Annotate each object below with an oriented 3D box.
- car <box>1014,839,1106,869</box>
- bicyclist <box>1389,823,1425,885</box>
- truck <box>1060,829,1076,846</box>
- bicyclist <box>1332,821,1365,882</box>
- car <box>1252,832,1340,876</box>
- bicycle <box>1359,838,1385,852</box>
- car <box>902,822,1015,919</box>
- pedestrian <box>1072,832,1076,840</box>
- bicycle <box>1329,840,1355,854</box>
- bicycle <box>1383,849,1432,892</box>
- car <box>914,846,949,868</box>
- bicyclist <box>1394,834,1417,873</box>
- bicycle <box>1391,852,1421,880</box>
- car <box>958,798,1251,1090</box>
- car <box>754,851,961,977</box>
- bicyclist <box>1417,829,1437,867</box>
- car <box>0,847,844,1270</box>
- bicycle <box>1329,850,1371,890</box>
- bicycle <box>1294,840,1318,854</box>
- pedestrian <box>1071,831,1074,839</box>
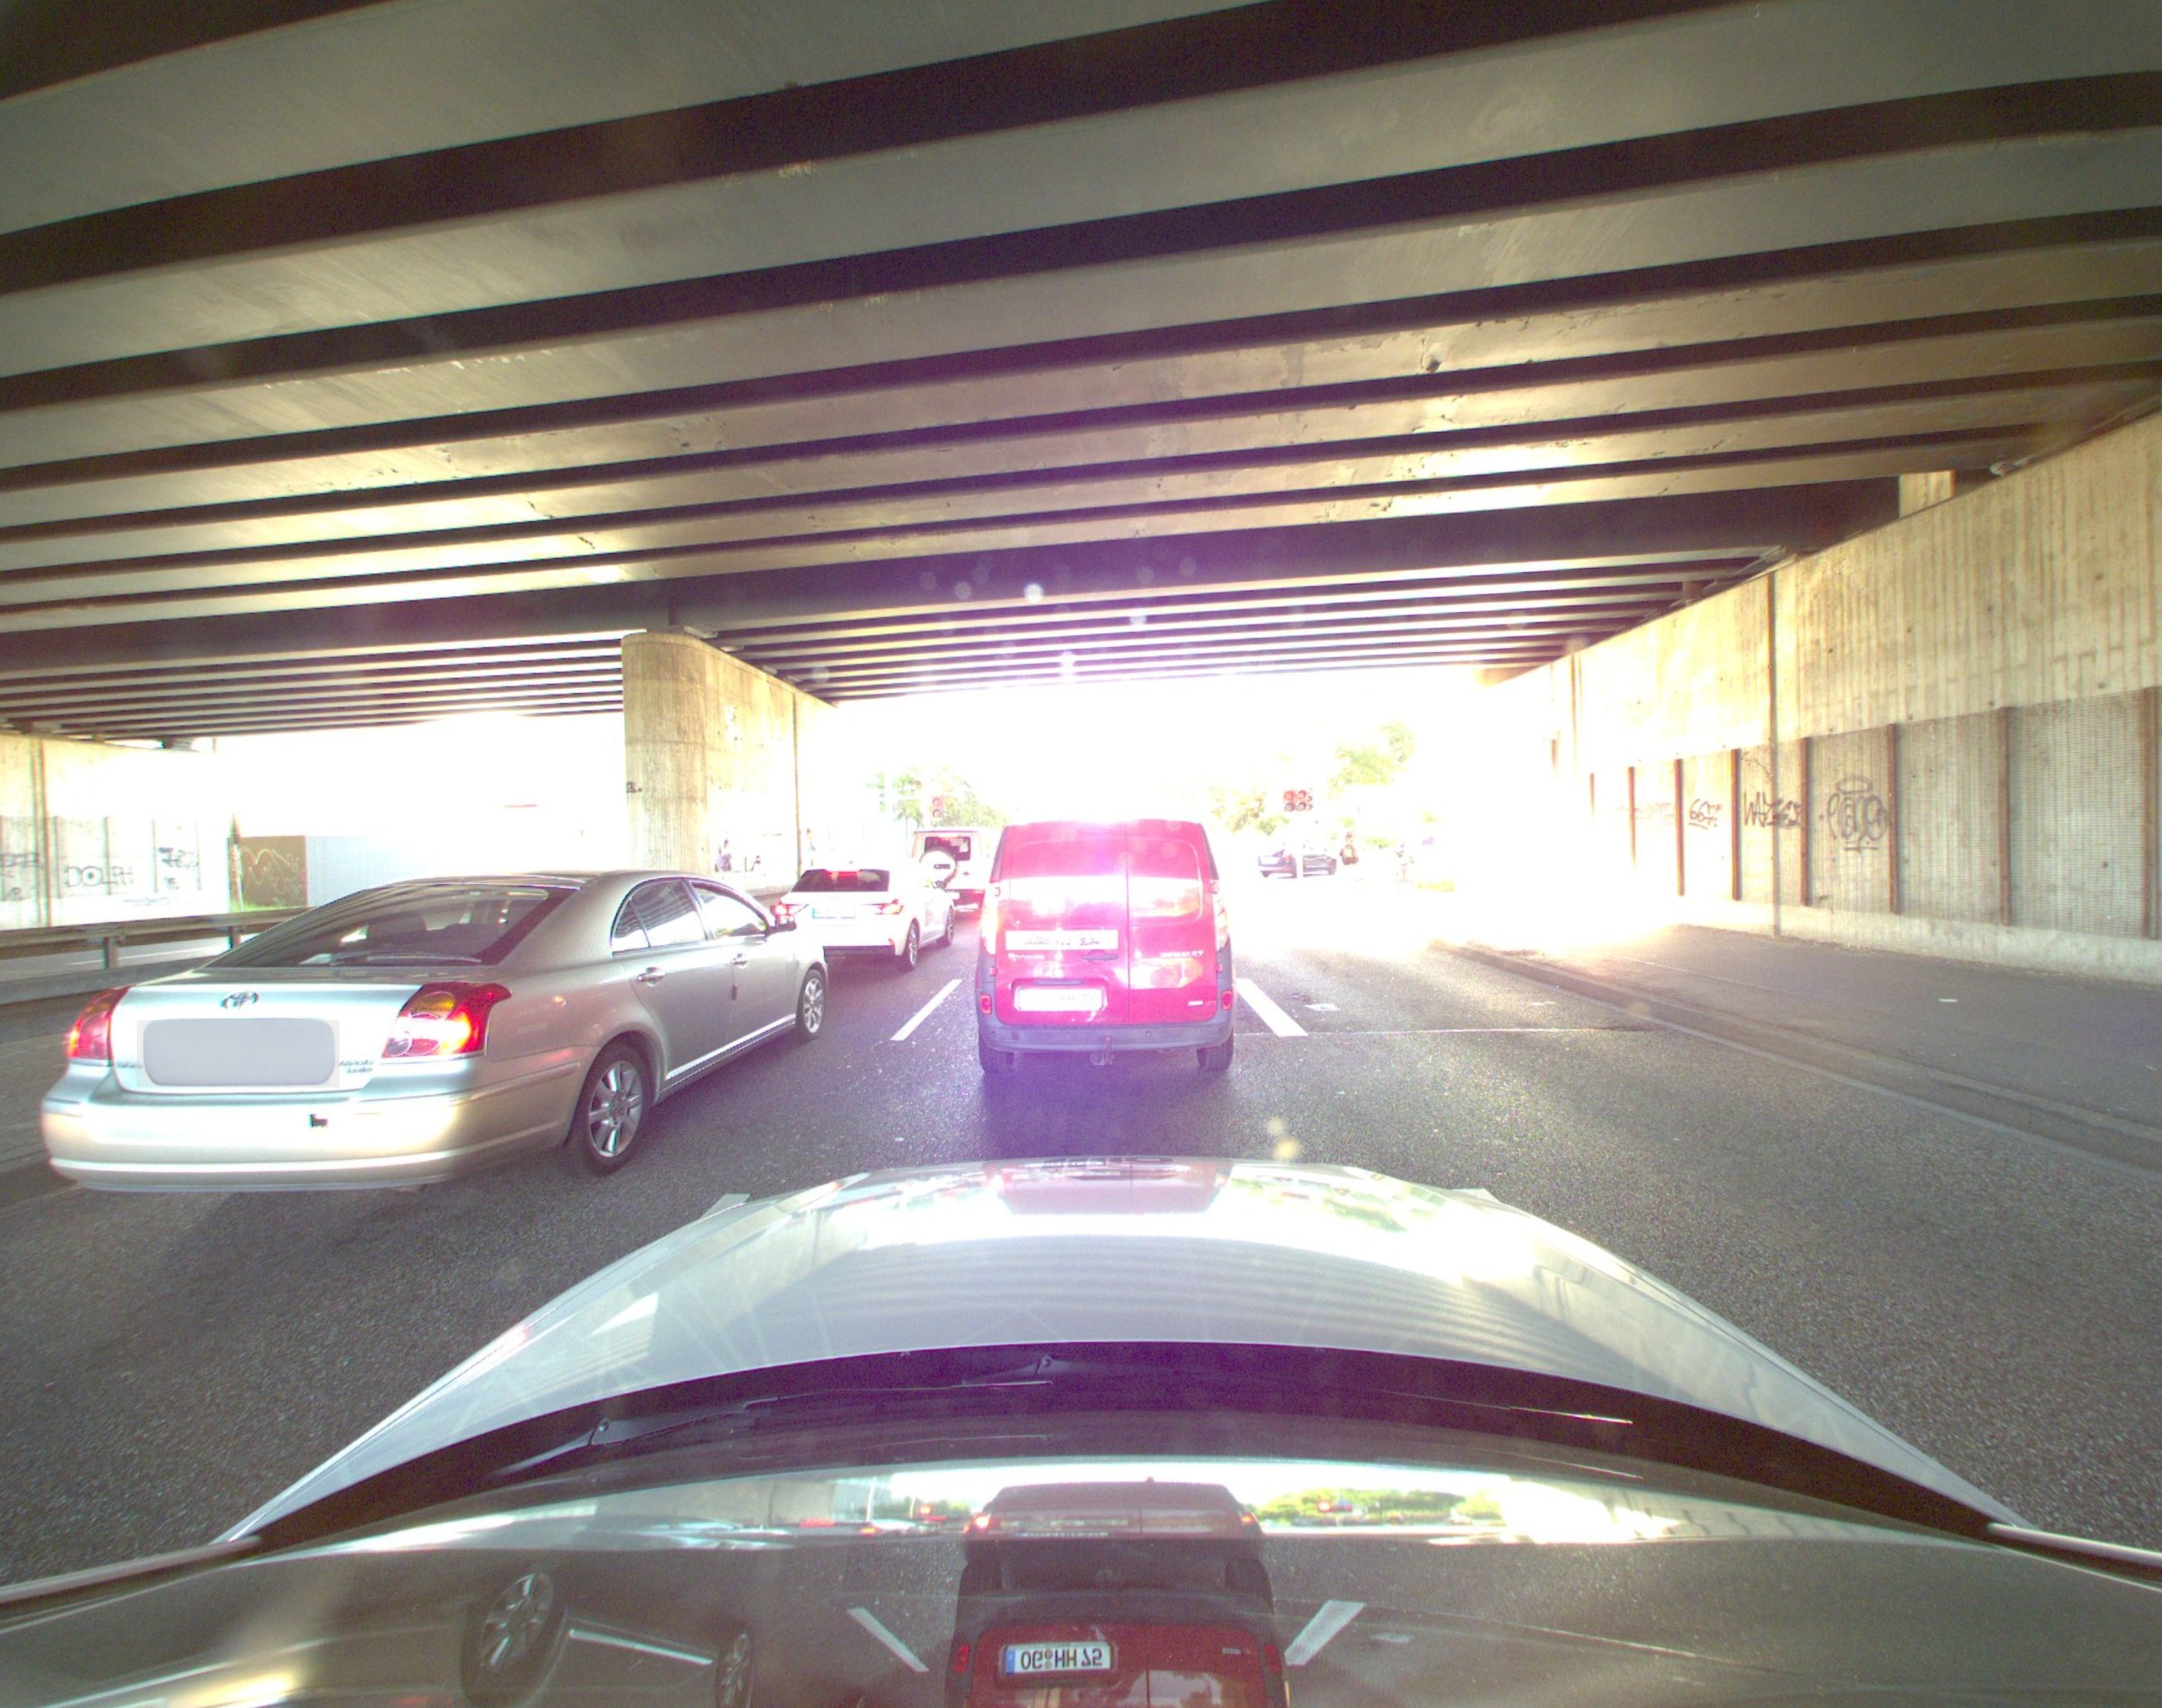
[{"bbox_3d":[-1.094,0.018,43.162,4.574,1.514,1.811,0,-1,-28],"label":"car"},{"bbox_3d":[8.248,0.000,20.635,0.589,1.548,0.769,0,-1,1],"label":"bicyclist"},{"bbox_3d":[-2.499,-3.215,158.913,2.399,3.026,6.661,-4,0,3],"label":"truck"},{"bbox_3d":[7.140,-0.065,21.798,0.589,1.613,0.943,0,-1,2],"label":"bicyclist"},{"bbox_3d":[8.893,-0.010,33.508,1.703,1.706,4.005,-1,0,44],"label":"car"},{"bbox_3d":[21.290,-0.632,59.596,1.733,1.023,0.596,-1,-1,13],"label":"bicycle"},{"bbox_3d":[-2.711,0.356,19.037,1.794,1.989,4.591,0,-1,2],"label":"car"},{"bbox_3d":[-1.836,-4.899,219.555,0.936,2.014,0.695,0,-1,5],"label":"pedestrian"},{"bbox_3d":[19.424,-0.531,60.624,1.734,1.023,0.595,-1,-1,10],"label":"bicycle"},{"bbox_3d":[8.242,0.405,20.613,0.589,1.023,1.751,0,-1,2],"label":"bicycle"},{"bbox_3d":[-13.196,0.251,72.121,1.817,1.737,4.634,-4,0,4],"label":"car"},{"bbox_3d":[12.300,-0.007,30.888,0.660,1.474,0.753,-1,-1,11],"label":"bicyclist"},{"bbox_3d":[12.290,0.443,30.845,0.667,1.023,2.062,-1,-1,12],"label":"bicycle"},{"bbox_3d":[0.203,0.573,7.036,1.798,1.794,4.001,0,-1,2],"label":"car"},{"bbox_3d":[-2.951,0.718,11.597,1.807,1.438,3.732,-1,1,1],"label":"car"},{"bbox_3d":[13.682,-0.227,32.178,0.644,1.480,0.621,-1,1,17],"label":"bicyclist"},{"bbox_3d":[-3.008,0.733,5.092,1.727,1.480,4.319,-1,0,0],"label":"car"},{"bbox_3d":[7.156,0.422,21.720,0.589,1.023,1.751,0,-1,2],"label":"bicycle"},{"bbox_3d":[17.187,-0.503,62.142,1.734,1.023,0.595,-1,-1,10],"label":"bicycle"},{"bbox_3d":[-2.180,-4.984,208.730,0.736,2.014,0.638,0,-1,5],"label":"pedestrian"}]
